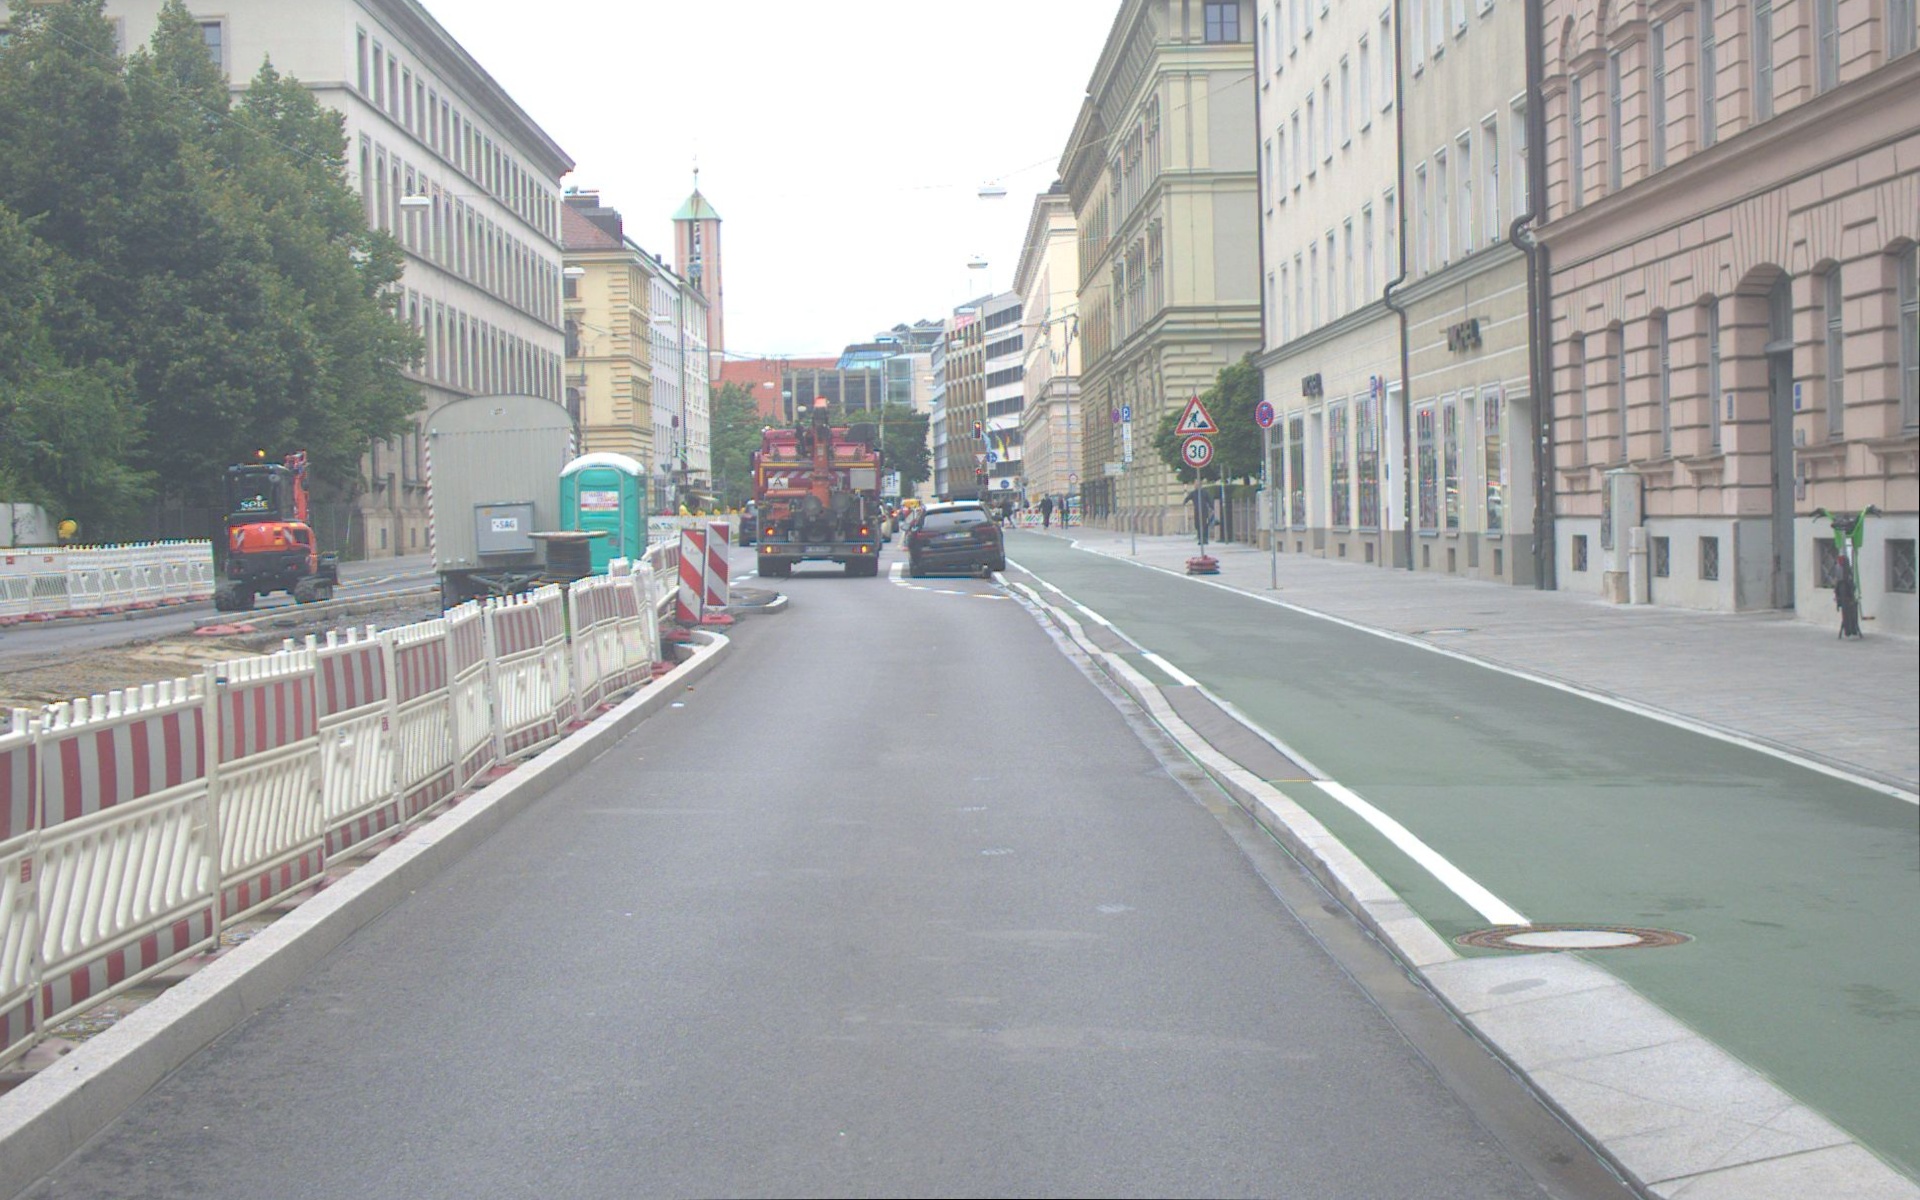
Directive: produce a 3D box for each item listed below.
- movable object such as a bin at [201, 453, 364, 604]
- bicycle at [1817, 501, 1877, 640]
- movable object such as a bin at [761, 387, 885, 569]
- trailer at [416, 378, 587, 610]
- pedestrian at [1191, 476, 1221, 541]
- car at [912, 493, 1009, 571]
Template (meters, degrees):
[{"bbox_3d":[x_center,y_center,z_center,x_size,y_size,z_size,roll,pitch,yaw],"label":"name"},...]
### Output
[{"bbox_3d":[-11.950,-1.306,60.940,1.924,2.563,4.493,0,2,1],"label":"movable object such as a bin"},{"bbox_3d":[7.829,-0.273,30.324,0.426,1.170,1.730,-1,2,17],"label":"bicycle"},{"bbox_3d":[-2.809,-2.512,71.253,2.423,3.599,5.852,-1,2,-2],"label":"movable object such as a bin"},{"bbox_3d":[-6.902,-1.620,52.498,2.226,3.232,7.521,-1,2,-5],"label":"trailer"},{"bbox_3d":[7.013,-2.625,98.078,0.790,1.830,0.777,-1,2,1],"label":"pedestrian"},{"bbox_3d":[-0.023,-1.399,69.520,1.801,1.475,4.688,-2,2,-2],"label":"car"}]
